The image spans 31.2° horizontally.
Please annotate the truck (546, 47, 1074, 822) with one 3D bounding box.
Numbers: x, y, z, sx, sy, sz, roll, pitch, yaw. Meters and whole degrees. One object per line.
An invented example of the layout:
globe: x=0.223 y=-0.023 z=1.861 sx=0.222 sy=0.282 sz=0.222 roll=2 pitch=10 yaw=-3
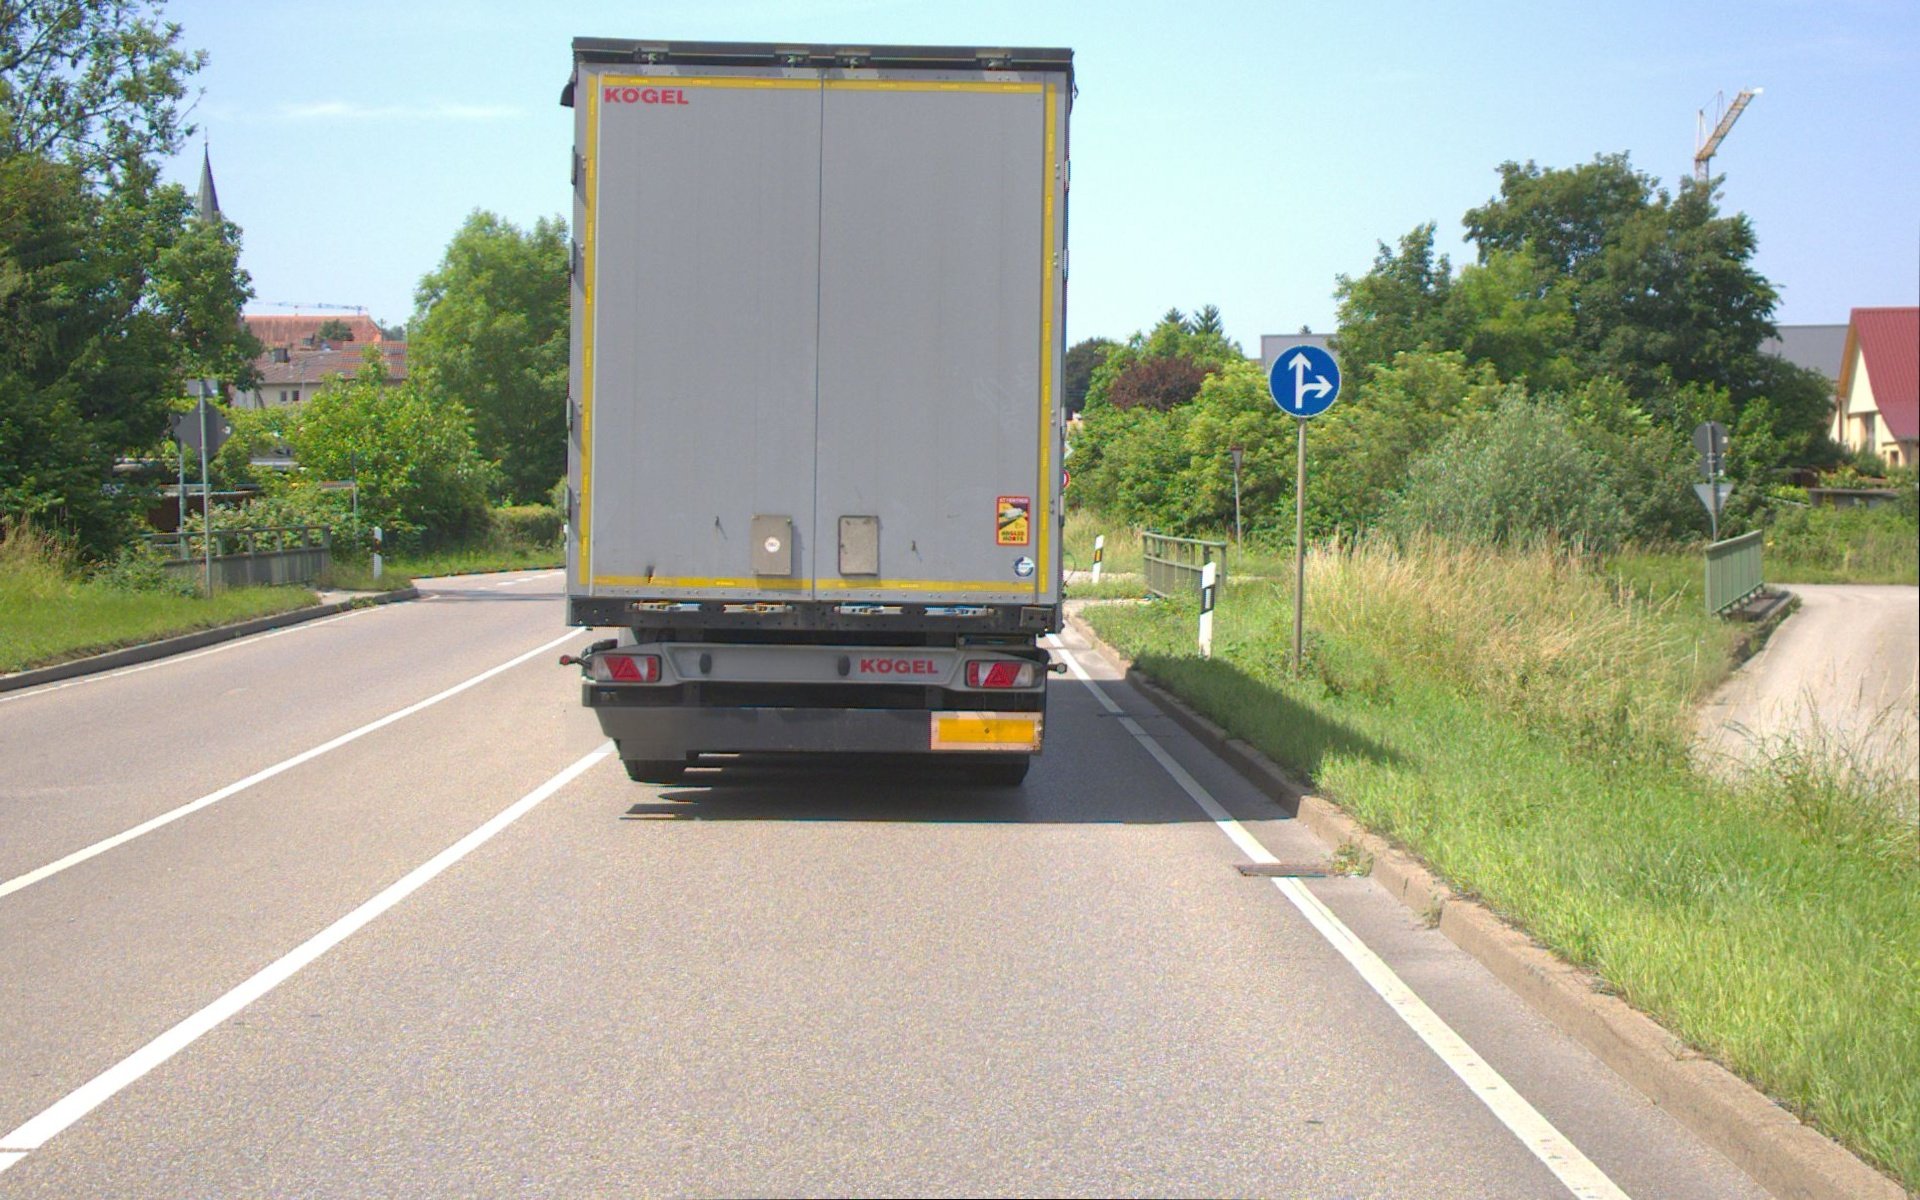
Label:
truck: x=-0.887 y=-0.911 z=21.793 sx=2.647 sy=3.903 sz=8.826 roll=0 pitch=1 yaw=-2
